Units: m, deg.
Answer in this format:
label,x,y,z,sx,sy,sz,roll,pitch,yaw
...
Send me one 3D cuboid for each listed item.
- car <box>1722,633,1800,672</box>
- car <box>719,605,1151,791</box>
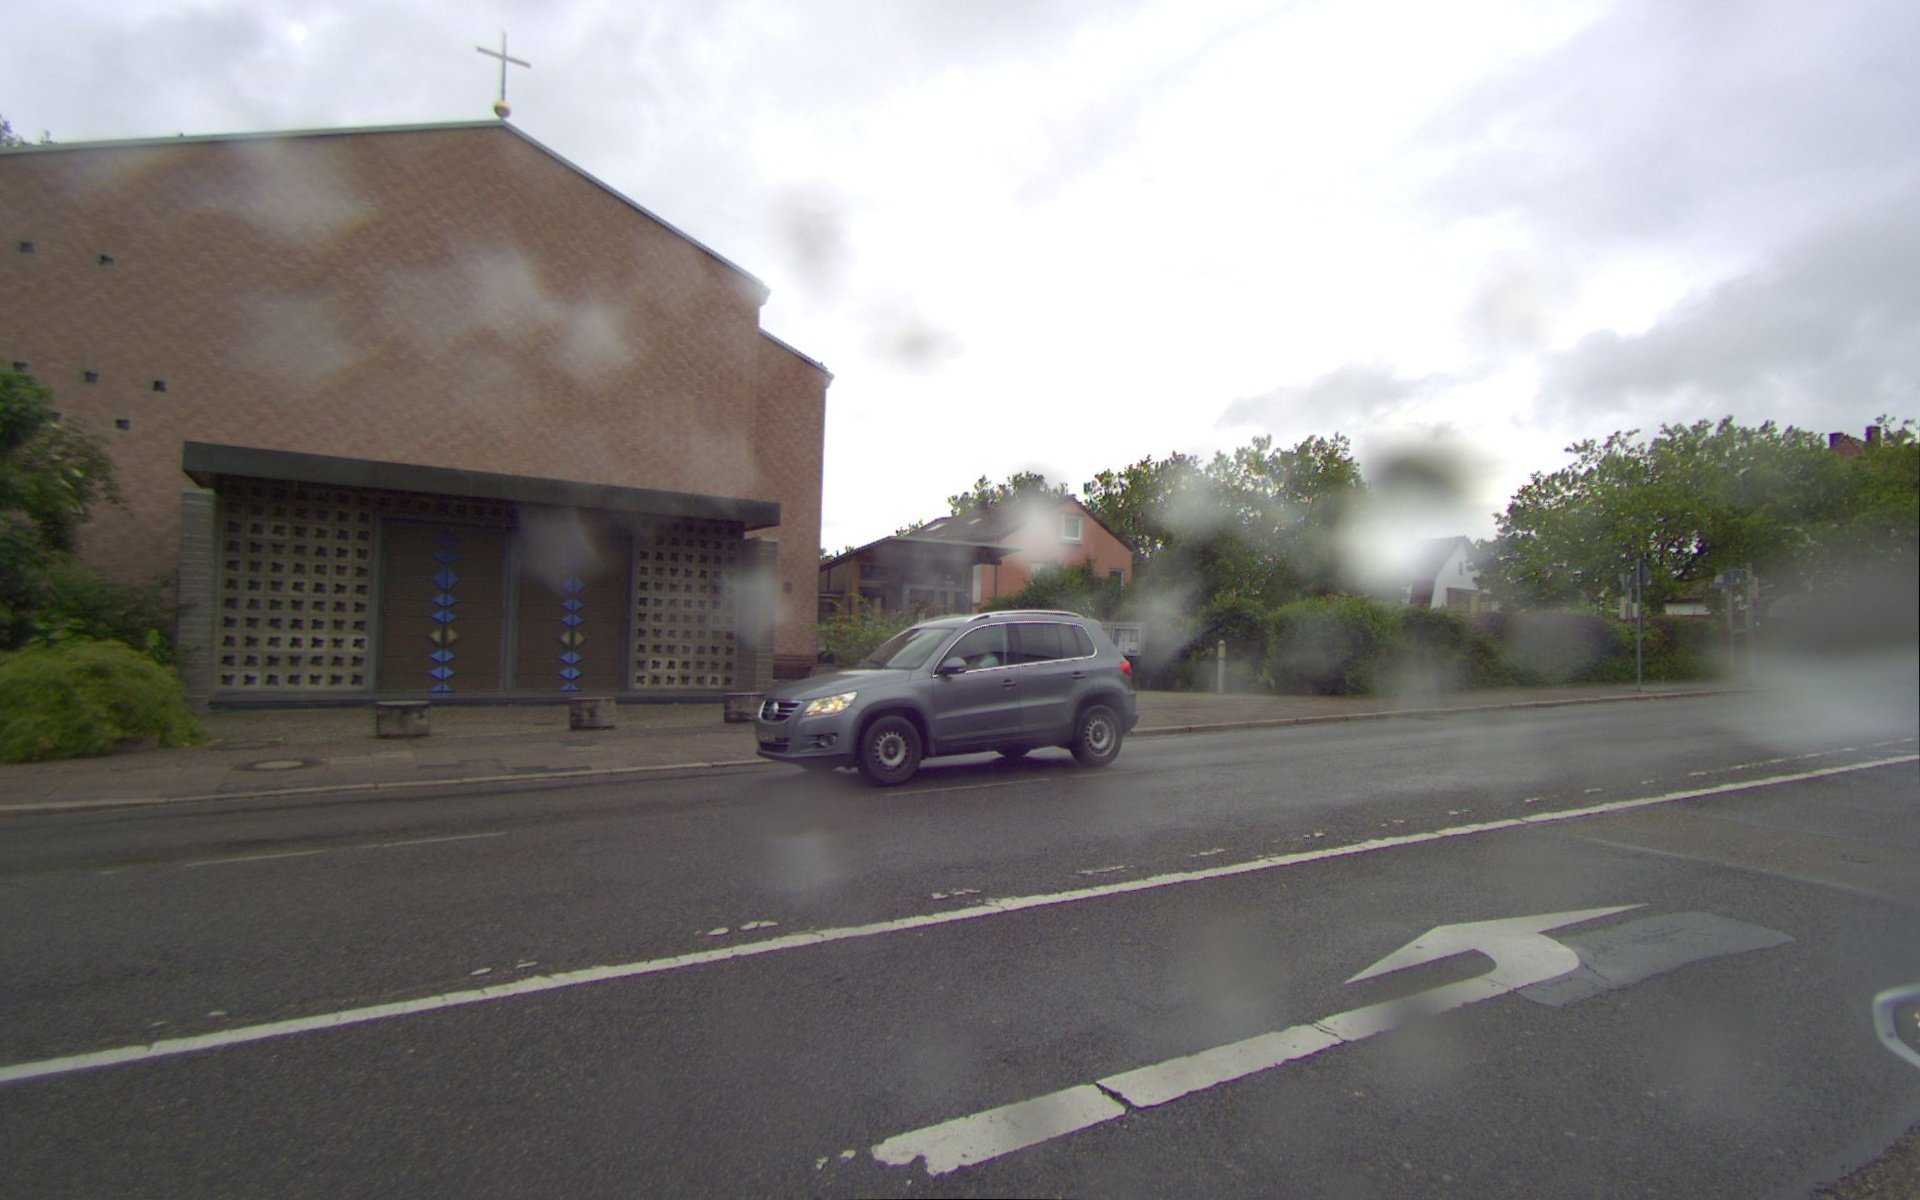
label,x,y,z,sx,sy,sz,roll,pitch,yaw
car,39.137,2.535,49.040,3.955,1.573,1.798,-3,2,-32
car,-0.184,0.926,10.715,4.271,1.611,1.897,1,-2,-33
